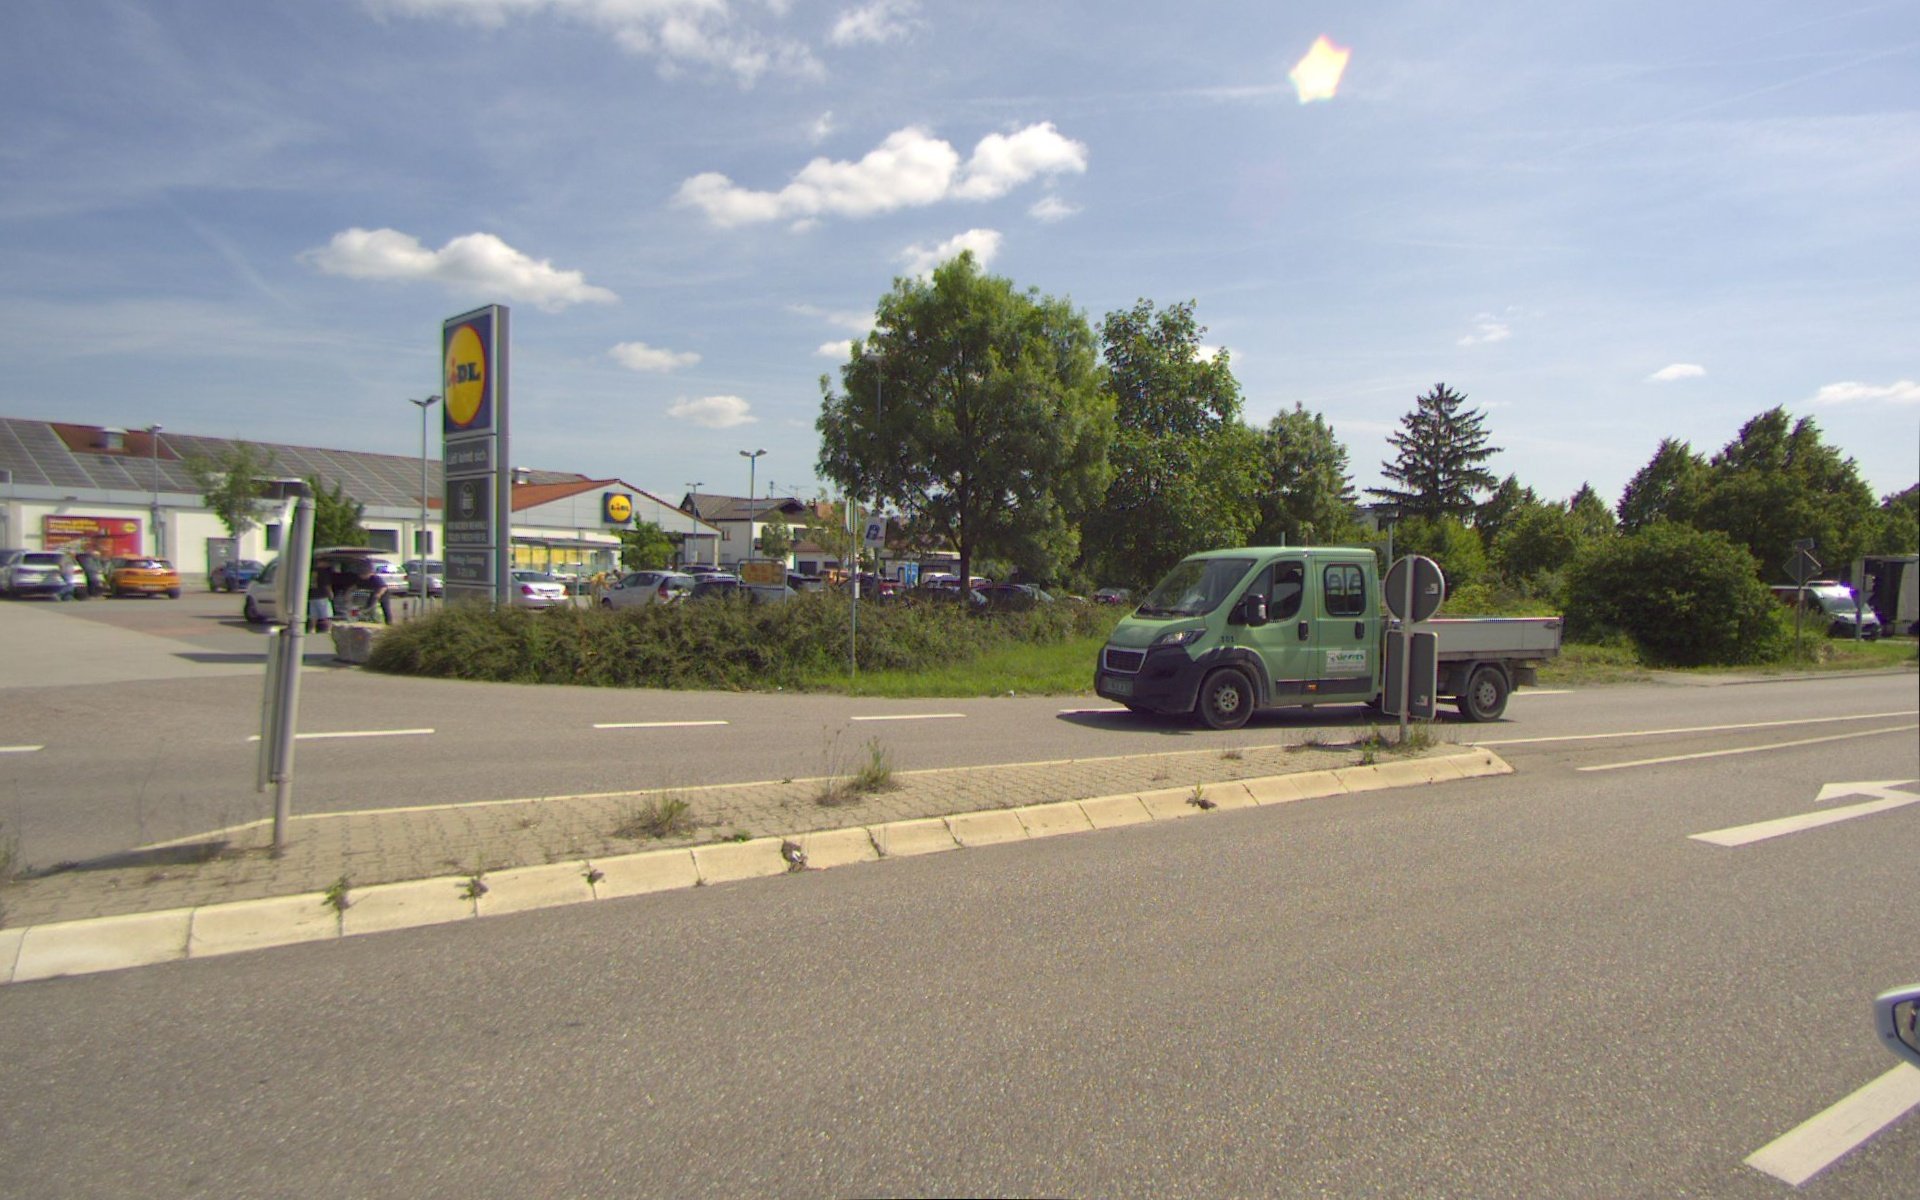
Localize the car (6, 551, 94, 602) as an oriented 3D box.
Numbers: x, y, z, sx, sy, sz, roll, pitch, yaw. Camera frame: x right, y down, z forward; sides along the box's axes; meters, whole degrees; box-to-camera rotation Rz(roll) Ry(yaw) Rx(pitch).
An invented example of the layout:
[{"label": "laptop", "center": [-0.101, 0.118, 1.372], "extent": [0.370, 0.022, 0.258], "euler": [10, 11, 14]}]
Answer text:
[{"label": "car", "center": [-29.772, -0.795, 32.969], "extent": [1.753, 1.561, 3.957], "euler": [0, 3, -37]}]

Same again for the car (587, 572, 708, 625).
[{"label": "car", "center": [-10.263, -0.082, 32.897], "extent": [4.082, 1.522, 1.775], "euler": [3, 2, 38]}]

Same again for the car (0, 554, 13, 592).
[{"label": "car", "center": [-35.389, -1.002, 35.994], "extent": [1.702, 1.328, 3.956], "euler": [1, 2, -37]}]

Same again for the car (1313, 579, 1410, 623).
[{"label": "car", "center": [22.040, 0.042, 55.167], "extent": [4.524, 2.209, 1.992], "euler": [3, 2, 37]}]

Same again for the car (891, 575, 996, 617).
[{"label": "car", "center": [-0.763, -0.190, 44.932], "extent": [4.353, 1.717, 1.994], "euler": [2, 1, 34]}]

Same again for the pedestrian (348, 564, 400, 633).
[{"label": "pedestrian", "center": [-13.904, -0.042, 23.838], "extent": [0.692, 1.596, 0.807], "euler": [2, 0, 32]}]

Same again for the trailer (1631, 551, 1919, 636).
[{"label": "trailer", "center": [44.077, -0.430, 55.447], "extent": [2.749, 4.116, 13.698], "euler": [0, 1, -11]}]

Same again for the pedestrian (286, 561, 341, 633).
[{"label": "pedestrian", "center": [-14.715, -0.068, 22.859], "extent": [0.692, 1.596, 0.807], "euler": [2, 0, 32]}]

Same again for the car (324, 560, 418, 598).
[{"label": "car", "center": [-24.476, -0.878, 41.725], "extent": [3.933, 1.461, 1.880], "euler": [3, 1, 35]}]

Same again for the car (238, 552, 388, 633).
[{"label": "car", "center": [-16.142, -0.224, 25.000], "extent": [4.102, 1.836, 1.873], "euler": [3, 2, 37]}]

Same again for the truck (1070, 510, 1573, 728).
[{"label": "truck", "center": [4.779, 0.257, 13.249], "extent": [6.254, 2.407, 2.238], "euler": [1, 1, -20]}]

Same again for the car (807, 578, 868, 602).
[{"label": "car", "center": [-8.538, -0.681, 70.277], "extent": [1.849, 1.562, 4.243], "euler": [2, 0, 37]}]

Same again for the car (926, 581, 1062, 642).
[{"label": "car", "center": [0.975, 0.311, 30.502], "extent": [3.941, 1.679, 1.686], "euler": [2, 0, 42]}]

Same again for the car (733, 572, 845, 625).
[{"label": "car", "center": [-6.263, -0.074, 36.612], "extent": [3.939, 1.697, 1.903], "euler": [4, 2, 40]}]

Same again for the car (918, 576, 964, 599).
[{"label": "car", "center": [-1.565, -1.051, 84.449], "extent": [1.866, 1.782, 3.988], "euler": [2, 0, 35]}]

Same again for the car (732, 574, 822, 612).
[{"label": "car", "center": [-7.959, -0.310, 43.609], "extent": [3.941, 1.549, 1.770], "euler": [2, 0, 41]}]

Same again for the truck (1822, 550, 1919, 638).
[{"label": "truck", "center": [45.567, -0.301, 48.194], "extent": [2.751, 4.116, 5.826], "euler": [0, 1, -15]}]

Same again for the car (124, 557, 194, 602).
[{"label": "car", "center": [-28.599, -0.756, 35.879], "extent": [1.870, 1.461, 3.954], "euler": [1, 1, -39]}]

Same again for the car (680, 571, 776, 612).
[{"label": "car", "center": [-9.677, -0.365, 41.797], "extent": [3.936, 1.549, 1.772], "euler": [2, 0, 37]}]

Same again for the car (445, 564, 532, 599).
[{"label": "car", "center": [-21.442, -0.845, 45.639], "extent": [3.933, 1.461, 1.880], "euler": [3, 1, 35]}]

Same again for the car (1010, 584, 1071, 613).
[{"label": "car", "center": [4.995, -0.072, 62.054], "extent": [1.883, 1.662, 3.984], "euler": [2, 0, 38]}]

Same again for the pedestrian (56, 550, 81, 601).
[{"label": "pedestrian", "center": [-27.955, -0.761, 31.496], "extent": [0.501, 1.573, 0.512], "euler": [1, 0, -36]}]

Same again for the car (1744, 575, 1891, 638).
[{"label": "car", "center": [39.680, 0.244, 46.738], "extent": [2.081, 2.690, 5.988], "euler": [1, 1, 5]}]

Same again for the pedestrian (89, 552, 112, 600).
[{"label": "pedestrian", "center": [-28.549, -0.790, 33.377], "extent": [0.512, 1.573, 0.500], "euler": [1, 0, -37]}]

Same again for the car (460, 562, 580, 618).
[{"label": "car", "center": [-14.936, -0.359, 33.996], "extent": [4.353, 1.698, 1.858], "euler": [3, 2, 37]}]

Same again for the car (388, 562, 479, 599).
[{"label": "car", "center": [-22.862, -0.835, 43.556], "extent": [3.933, 1.461, 1.880], "euler": [3, 1, 35]}]

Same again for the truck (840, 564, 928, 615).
[{"label": "truck", "center": [-3.780, -0.552, 49.962], "extent": [3.932, 2.397, 1.994], "euler": [2, 0, 34]}]

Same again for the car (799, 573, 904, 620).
[{"label": "car", "center": [-4.302, -0.137, 39.728], "extent": [3.939, 1.711, 1.918], "euler": [2, 0, 40]}]
